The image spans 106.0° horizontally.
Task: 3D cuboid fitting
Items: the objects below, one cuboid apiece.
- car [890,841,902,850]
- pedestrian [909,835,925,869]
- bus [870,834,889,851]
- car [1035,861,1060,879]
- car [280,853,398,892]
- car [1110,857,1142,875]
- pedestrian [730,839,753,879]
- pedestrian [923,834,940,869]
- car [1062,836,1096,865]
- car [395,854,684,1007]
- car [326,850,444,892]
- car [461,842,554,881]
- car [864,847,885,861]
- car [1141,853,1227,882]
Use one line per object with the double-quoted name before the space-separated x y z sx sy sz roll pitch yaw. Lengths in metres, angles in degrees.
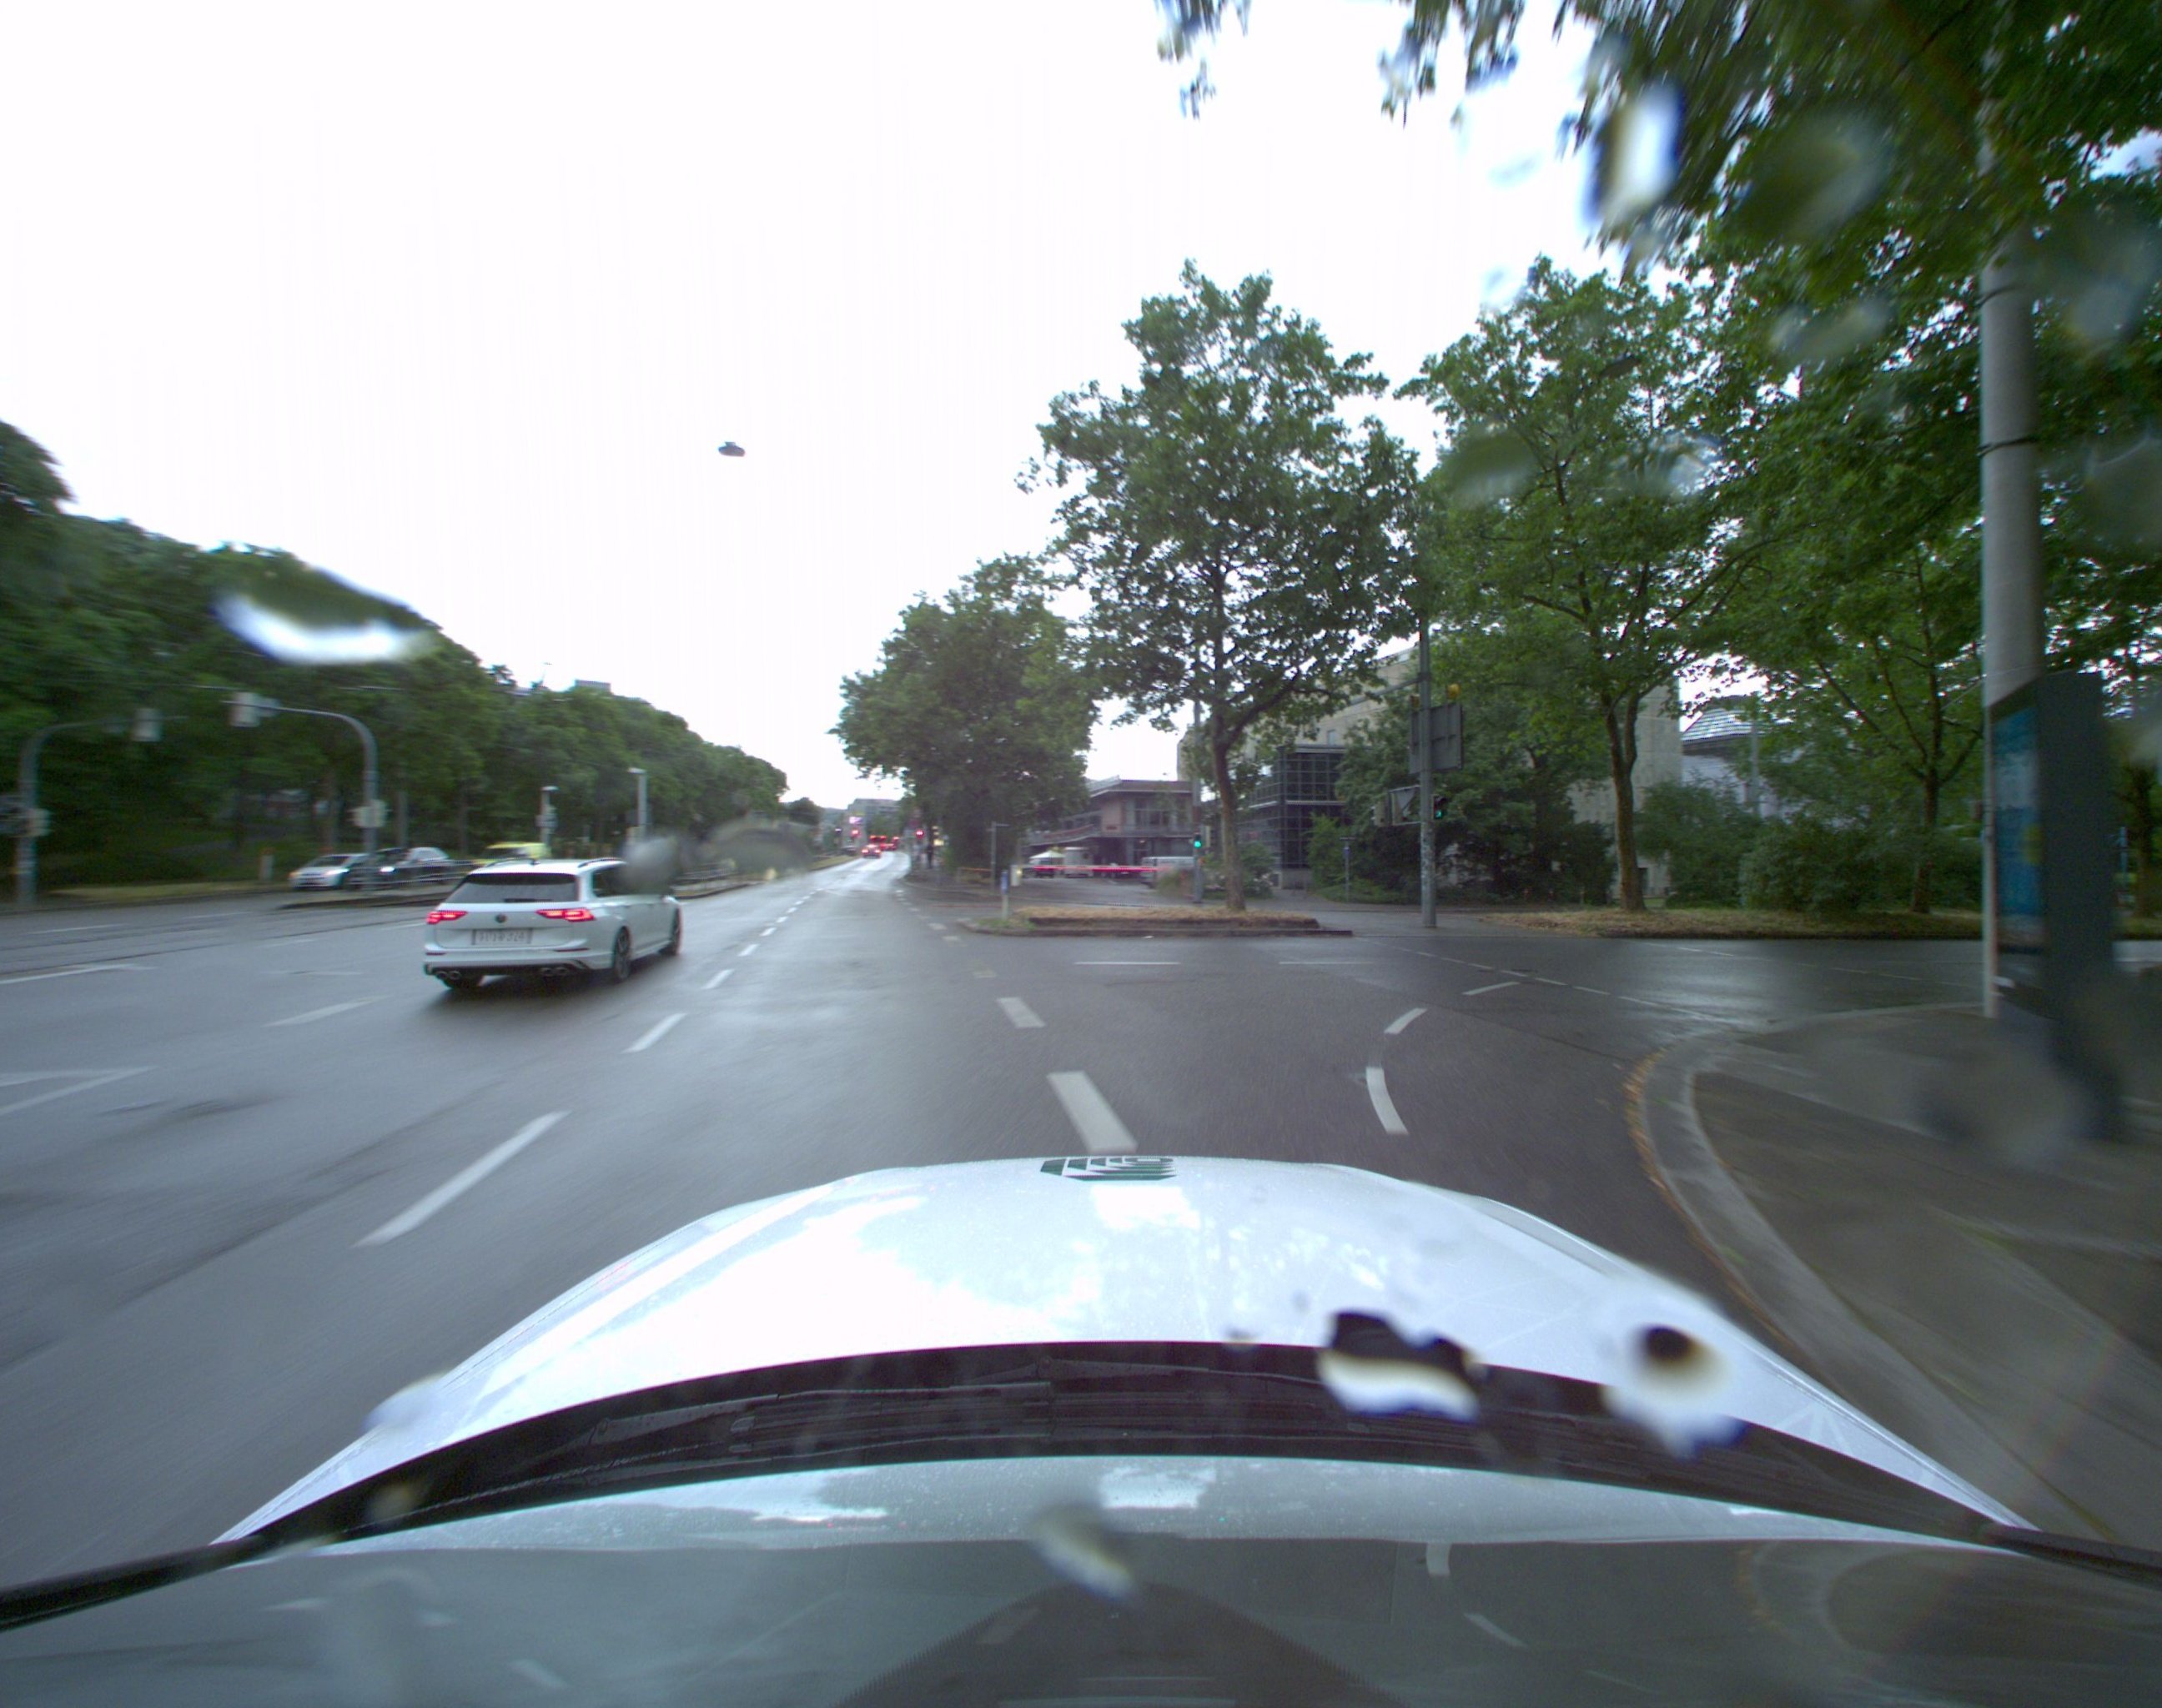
"car" -38.458 -1.741 169.299 2.366 1.816 5.160 -2 1 -13
"pedestrian" -9.774 -0.129 48.615 0.814 2.013 1.074 -2 0 -8
"bus" -40.562 -2.294 164.272 3.594 3.171 10.373 -2 1 -13
"car" -3.107 1.491 76.637 2.012 1.551 4.352 0 1 1
"car" -31.120 0.738 34.317 1.918 1.546 3.671 -1 0 -8
"car" 4.274 1.133 78.022 2.022 1.551 4.331 0 1 -13
"pedestrian" -15.317 0.226 36.756 0.872 1.802 0.862 0 0 -19
"pedestrian" -8.963 -0.165 48.859 0.874 2.013 1.074 -2 0 -8
"car" -0.270 -0.351 80.198 2.727 2.695 6.911 0 1 -5
"car" -6.483 0.776 10.390 1.800 1.442 4.450 -2 0 -17
"car" -27.899 0.634 32.813 1.918 1.546 3.671 -1 0 -8
"car" -28.910 0.353 41.256 1.918 1.851 4.554 -1 0 -8
"car" -22.958 0.002 90.526 1.995 1.519 4.333 -2 1 -12
"car" 6.477 0.819 51.109 5.226 1.731 1.859 0 1 -26
